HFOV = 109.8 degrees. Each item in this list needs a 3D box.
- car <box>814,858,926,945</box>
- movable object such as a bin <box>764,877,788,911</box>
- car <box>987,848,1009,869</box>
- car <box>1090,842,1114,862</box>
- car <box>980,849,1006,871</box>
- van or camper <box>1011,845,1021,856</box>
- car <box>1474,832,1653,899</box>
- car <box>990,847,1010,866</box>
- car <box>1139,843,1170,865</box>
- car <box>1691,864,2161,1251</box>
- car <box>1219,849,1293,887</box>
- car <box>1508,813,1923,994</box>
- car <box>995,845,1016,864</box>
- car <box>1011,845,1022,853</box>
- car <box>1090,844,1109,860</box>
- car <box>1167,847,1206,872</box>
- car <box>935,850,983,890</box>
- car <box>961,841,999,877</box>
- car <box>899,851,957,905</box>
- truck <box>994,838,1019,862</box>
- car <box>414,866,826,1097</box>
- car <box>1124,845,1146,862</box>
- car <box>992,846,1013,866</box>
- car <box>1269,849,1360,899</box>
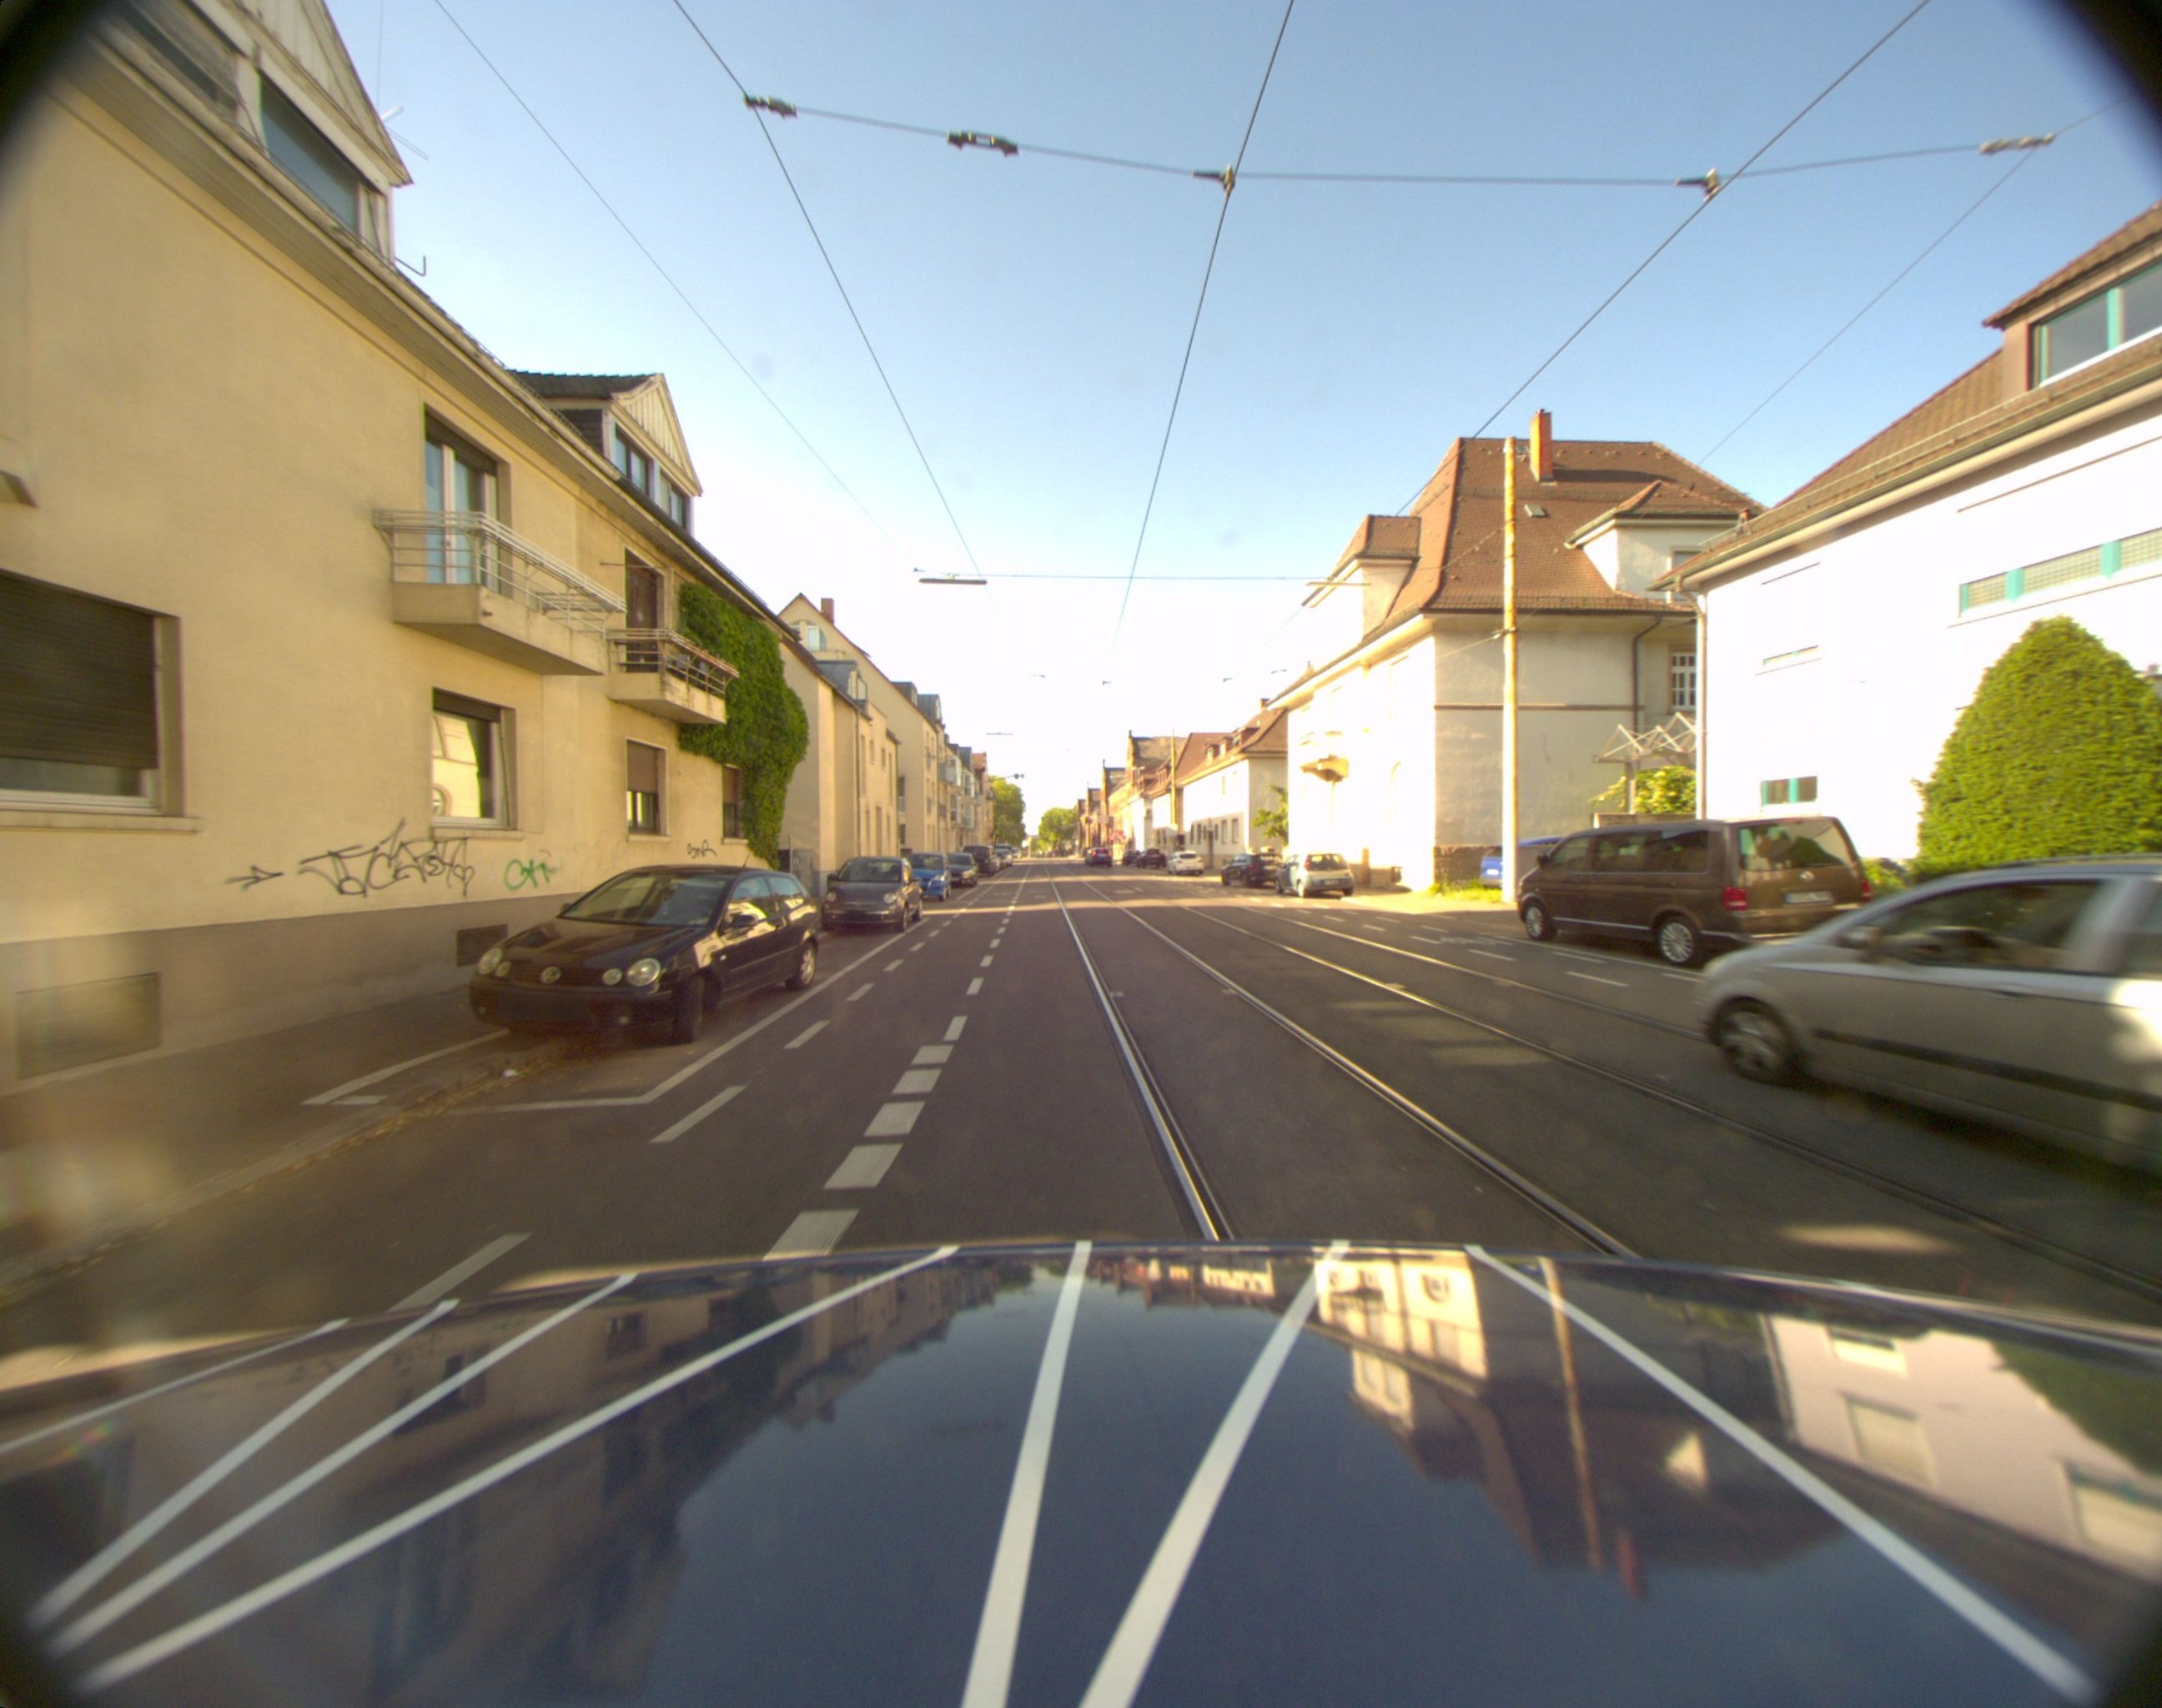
[{"bbox_3d":[-4.322,0.894,16.064,1.606,1.516,3.547,-2,1,-5],"label":"car"},{"bbox_3d":[-8.502,1.113,21.212,0.494,0.911,0.514,0,1,-5],"label":"movable object such as a bin"},{"bbox_3d":[-6.585,0.319,60.798,1.558,1.548,3.650,-2,1,-4],"label":"car"},{"bbox_3d":[1.749,-0.192,65.744,1.708,1.695,4.362,1,1,-3],"label":"car"},{"bbox_3d":[-6.440,0.421,55.822,1.682,1.482,4.170,-2,1,-4],"label":"car"},{"bbox_3d":[-13.519,-0.705,158.055,1.999,2.346,5.597,-1,-1,-3],"label":"van or camper"},{"bbox_3d":[13.374,0.284,21.196,3.937,1.773,1.754,0,1,-5],"label":"car"},{"bbox_3d":[-6.917,0.223,65.246,1.501,1.548,3.363,-2,1,-4],"label":"car"},{"bbox_3d":[5.897,-0.043,61.571,1.767,1.695,4.553,1,1,-4],"label":"car"},{"bbox_3d":[5.028,0.828,3.475,1.579,1.468,3.439,0,1,-3],"label":"car"},{"bbox_3d":[7.192,0.526,31.708,1.668,1.468,4.247,-1,1,-7],"label":"car"},{"bbox_3d":[8.675,0.536,11.188,1.911,2.002,4.947,-2,1,-1],"label":"car"},{"bbox_3d":[-7.472,0.007,75.393,1.744,1.736,4.253,-2,1,-3],"label":"car"},{"bbox_3d":[-12.539,-0.931,147.865,1.984,1.539,4.033,-1,0,-3],"label":"car"},{"bbox_3d":[1.742,-0.245,72.898,1.622,1.452,4.073,1,1,-2],"label":"car"},{"bbox_3d":[6.433,0.304,46.752,1.636,1.449,4.013,1,1,-3],"label":"car"},{"bbox_3d":[-5.444,0.655,34.358,1.749,1.590,4.431,-2,1,-5],"label":"car"},{"bbox_3d":[-6.064,0.268,46.161,1.911,1.976,4.560,-2,1,-4],"label":"car"},{"bbox_3d":[-5.009,0.747,25.186,1.461,1.590,3.292,-2,1,-5],"label":"car"},{"bbox_3d":[-7.923,-0.423,81.596,2.302,2.463,6.143,0,1,-3],"label":"truck"},{"bbox_3d":[-4.013,0.973,7.464,1.670,1.555,3.770,0,1,1],"label":"car"},{"bbox_3d":[5.187,-0.070,73.194,1.620,1.618,3.919,1,1,-4],"label":"car"},{"bbox_3d":[-7.192,0.141,69.912,1.607,1.690,3.988,-2,1,-3],"label":"car"},{"bbox_3d":[7.682,0.600,25.351,1.681,1.468,3.833,-2,1,-3],"label":"car"}]
